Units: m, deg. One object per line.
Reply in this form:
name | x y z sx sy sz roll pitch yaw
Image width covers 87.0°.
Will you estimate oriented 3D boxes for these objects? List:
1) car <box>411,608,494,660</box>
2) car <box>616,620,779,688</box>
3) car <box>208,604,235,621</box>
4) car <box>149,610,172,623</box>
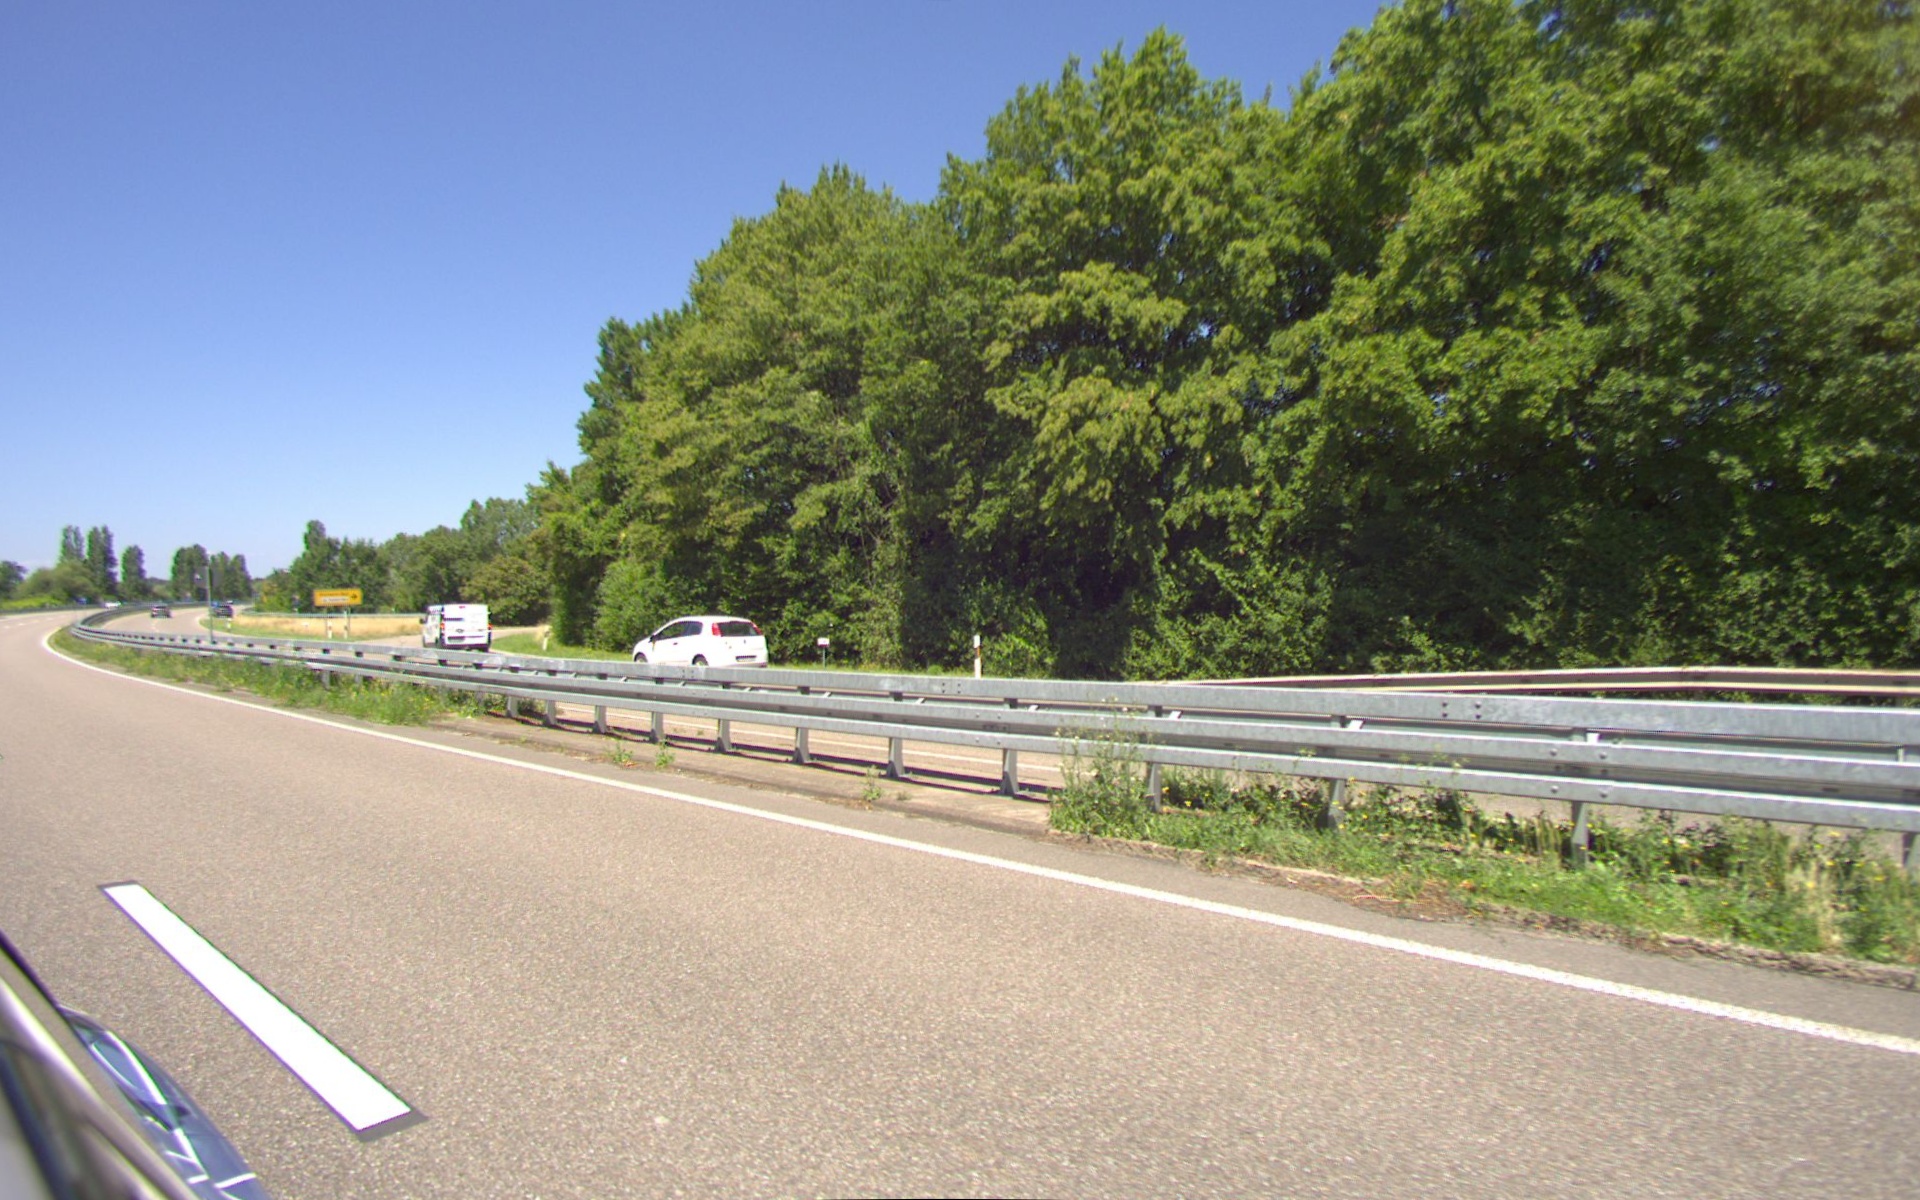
car | -20.523 1.353 40.820 1.963 1.966 5.651 1 -2 -38
car | -6.188 1.200 23.635 4.218 1.458 1.634 -1 -2 42
car | -96.514 1.615 132.260 3.999 2.028 1.973 0 2 42
car | -102.699 2.121 130.030 1.799 1.630 4.553 0 -2 -32
